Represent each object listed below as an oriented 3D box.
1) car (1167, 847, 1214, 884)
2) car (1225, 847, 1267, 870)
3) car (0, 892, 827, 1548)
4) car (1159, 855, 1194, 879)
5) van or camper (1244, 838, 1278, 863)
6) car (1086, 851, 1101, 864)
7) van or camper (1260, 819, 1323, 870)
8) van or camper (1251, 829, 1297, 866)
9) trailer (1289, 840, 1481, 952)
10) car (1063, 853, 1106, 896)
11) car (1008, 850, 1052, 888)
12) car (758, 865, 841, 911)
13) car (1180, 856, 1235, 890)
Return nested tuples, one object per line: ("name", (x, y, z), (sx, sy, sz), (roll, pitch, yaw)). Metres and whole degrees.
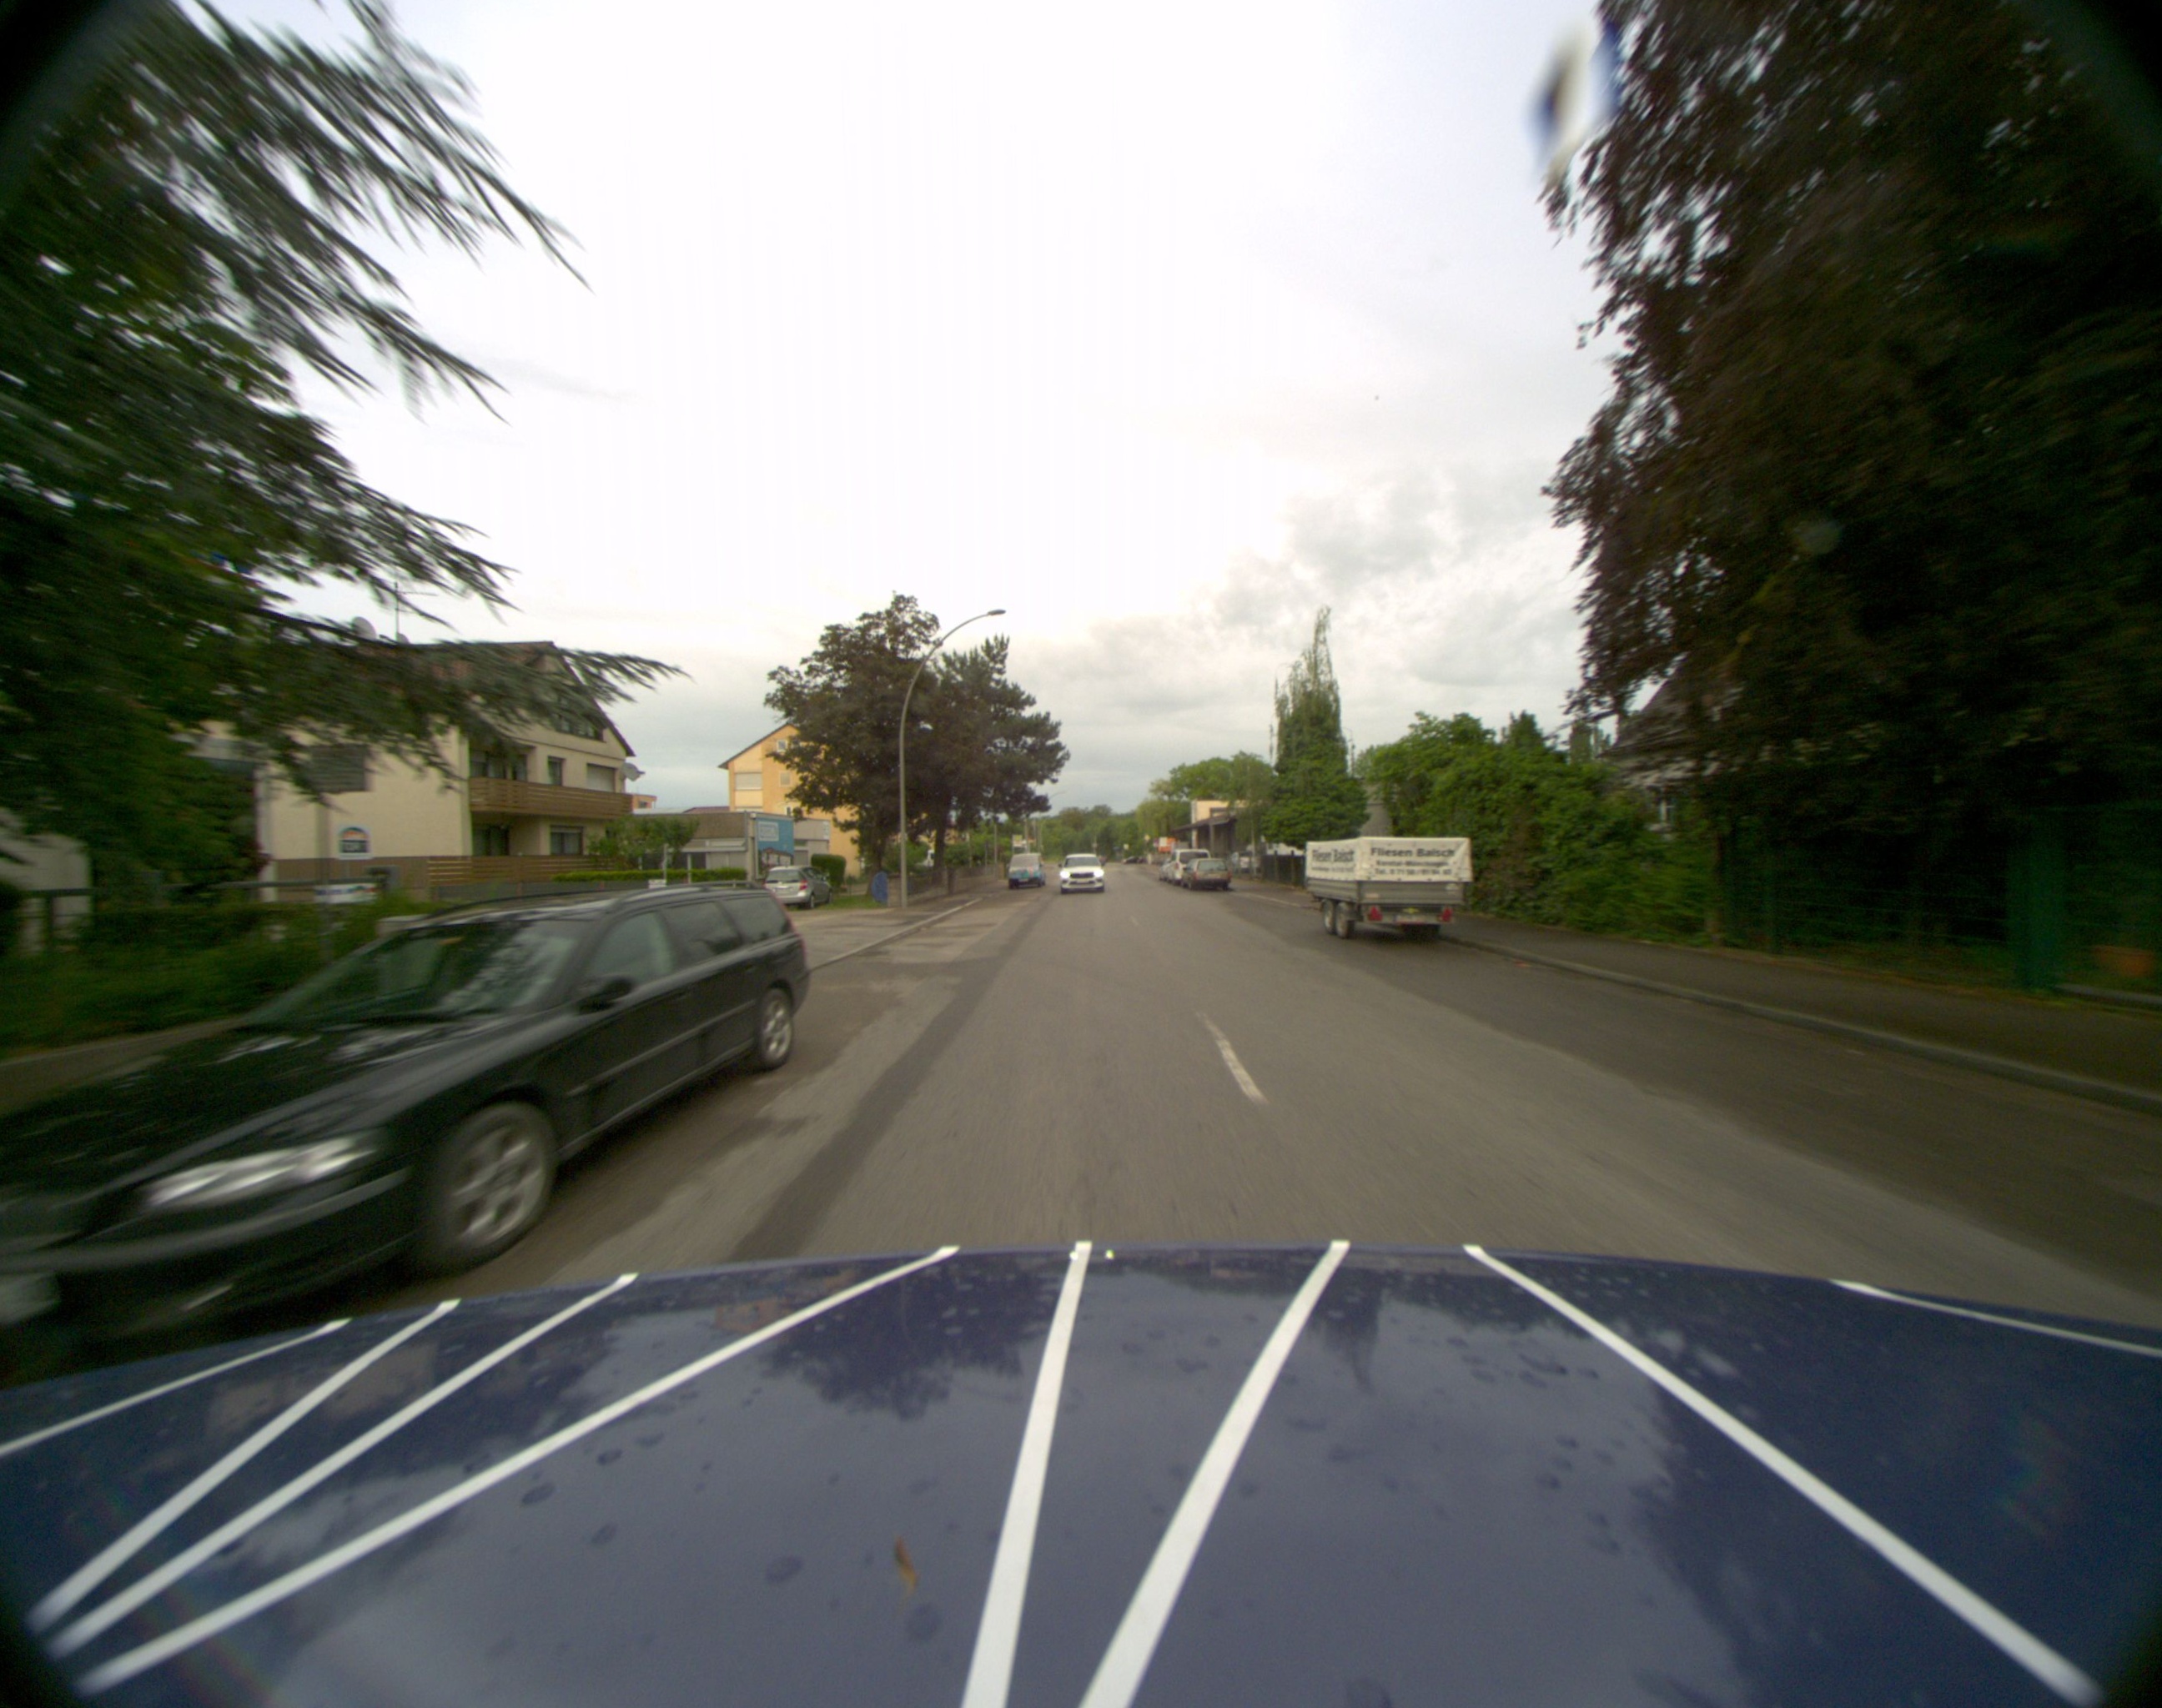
("car", (5.786, 0.553, 40.833), (1.898, 1.881, 5.210), (0, 1, 1))
("car", (11.254, 0.250, 52.108), (1.833, 1.432, 4.788), (-3, 1, 0))
("car", (-3.253, 1.135, 4.342), (1.744, 1.424, 4.649), (-4, 1, 3))
("car", (5.872, 0.751, 46.938), (1.642, 1.357, 4.707), (0, 1, 1))
("van or camper", (14.832, -0.322, 62.832), (1.926, 1.924, 4.374), (-3, 1, 3))
("car", (1.744, 0.443, 104.983), (1.898, 1.678, 4.231), (0, 1, 1))
("van or camper", (13.720, -0.603, 49.871), (2.309, 3.018, 6.150), (-3, 1, 0))
("van or camper", (14.155, -0.500, 55.980), (1.998, 2.476, 5.197), (-3, 1, 0))
("trailer", (5.614, 0.677, 14.736), (1.934, 1.755, 4.548), (-2, 0, 1))
("car", (0.097, 0.836, 33.418), (1.692, 1.651, 3.999), (-3, 1, -1))
("car", (-2.781, 0.763, 42.373), (1.736, 1.817, 5.553), (-4, 0, 2))
("car", (-10.341, 1.199, 28.240), (1.749, 1.479, 4.116), (-2, 1, -4))
("car", (5.801, 0.818, 35.396), (1.820, 1.419, 4.981), (0, 1, 1))
